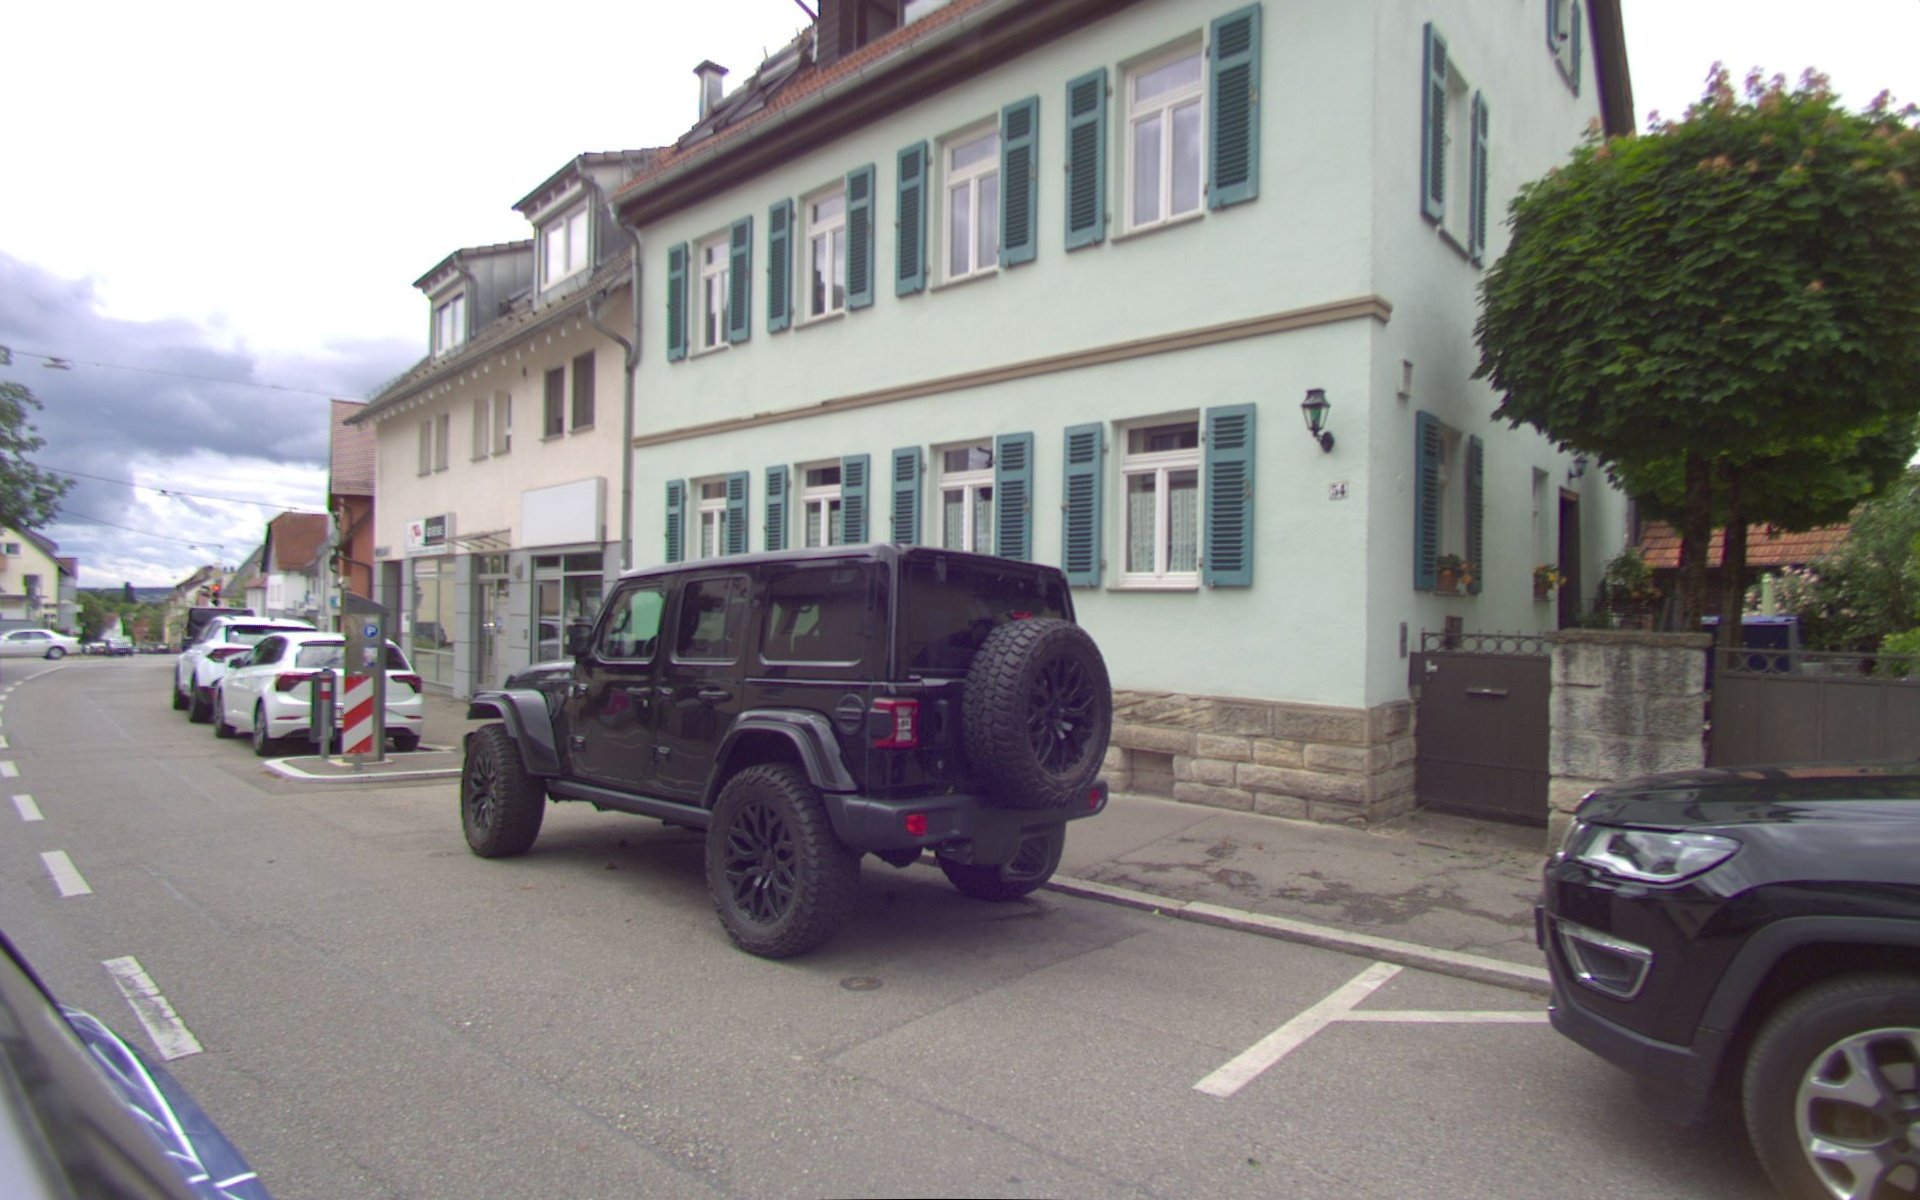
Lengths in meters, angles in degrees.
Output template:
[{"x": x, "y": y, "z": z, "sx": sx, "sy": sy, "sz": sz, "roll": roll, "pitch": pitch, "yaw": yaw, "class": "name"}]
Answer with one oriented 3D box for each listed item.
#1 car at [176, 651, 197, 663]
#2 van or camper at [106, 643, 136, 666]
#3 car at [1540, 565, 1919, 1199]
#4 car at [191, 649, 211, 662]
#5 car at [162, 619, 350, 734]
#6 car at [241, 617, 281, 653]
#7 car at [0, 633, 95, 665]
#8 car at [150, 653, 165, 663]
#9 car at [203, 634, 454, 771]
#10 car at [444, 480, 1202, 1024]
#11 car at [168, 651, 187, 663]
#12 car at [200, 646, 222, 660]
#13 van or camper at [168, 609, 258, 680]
[{"x": -97.720, "y": 7.173, "z": 127.864, "sx": 1.681, "sy": 1.421, "sz": 3.740, "roll": 5, "pitch": -6, "yaw": -42, "class": "car"}, {"x": -81.578, "y": 5.283, "z": 98.338, "sx": 1.970, "sy": 2.029, "sz": 5.069, "roll": -2, "pitch": -1, "yaw": -43, "class": "van or camper"}, {"x": 3.925, "y": 0.721, "z": 2.032, "sx": 4.520, "sy": 1.631, "sz": 1.878, "roll": -3, "pitch": -4, "yaw": 39, "class": "car"}, {"x": -87.174, "y": 6.353, "z": 116.226, "sx": 1.628, "sy": 1.458, "sz": 3.780, "roll": 3, "pitch": -4, "yaw": -39, "class": "car"}, {"x": -11.934, "y": 1.162, "z": 17.000, "sx": 1.974, "sy": 1.645, "sz": 4.863, "roll": 1, "pitch": -2, "yaw": -42, "class": "car"}, {"x": -42.368, "y": 2.160, "z": 61.414, "sx": 1.787, "sy": 2.021, "sz": 4.775, "roll": 3, "pitch": -5, "yaw": -33, "class": "car"}, {"x": -43.785, "y": 2.316, "z": 47.545, "sx": 2.000, "sy": 1.456, "sz": 4.503, "roll": -3, "pitch": -5, "yaw": 43, "class": "car"}, {"x": -130.232, "y": 9.358, "z": 164.214, "sx": 1.681, "sy": 1.544, "sz": 3.740, "roll": 5, "pitch": -6, "yaw": -42, "class": "car"}, {"x": -8.325, "y": 1.196, "z": 13.208, "sx": 1.975, "sy": 1.447, "sz": 3.921, "roll": 1, "pitch": -2, "yaw": -45, "class": "car"}, {"x": -1.121, "y": 0.667, "z": 6.119, "sx": 4.669, "sy": 2.029, "sz": 1.972, "roll": -2, "pitch": -5, "yaw": 42, "class": "car"}, {"x": -105.324, "y": 7.672, "z": 136.273, "sx": 1.681, "sy": 1.544, "sz": 3.740, "roll": 5, "pitch": -6, "yaw": -42, "class": "car"}, {"x": -83.381, "y": 5.915, "z": 112.663, "sx": 1.629, "sy": 1.458, "sz": 3.816, "roll": 3, "pitch": -4, "yaw": -41, "class": "car"}, {"x": -23.668, "y": 1.364, "z": 32.198, "sx": 2.046, "sy": 2.021, "sz": 4.870, "roll": 4, "pitch": -2, "yaw": -35, "class": "van or camper"}]
